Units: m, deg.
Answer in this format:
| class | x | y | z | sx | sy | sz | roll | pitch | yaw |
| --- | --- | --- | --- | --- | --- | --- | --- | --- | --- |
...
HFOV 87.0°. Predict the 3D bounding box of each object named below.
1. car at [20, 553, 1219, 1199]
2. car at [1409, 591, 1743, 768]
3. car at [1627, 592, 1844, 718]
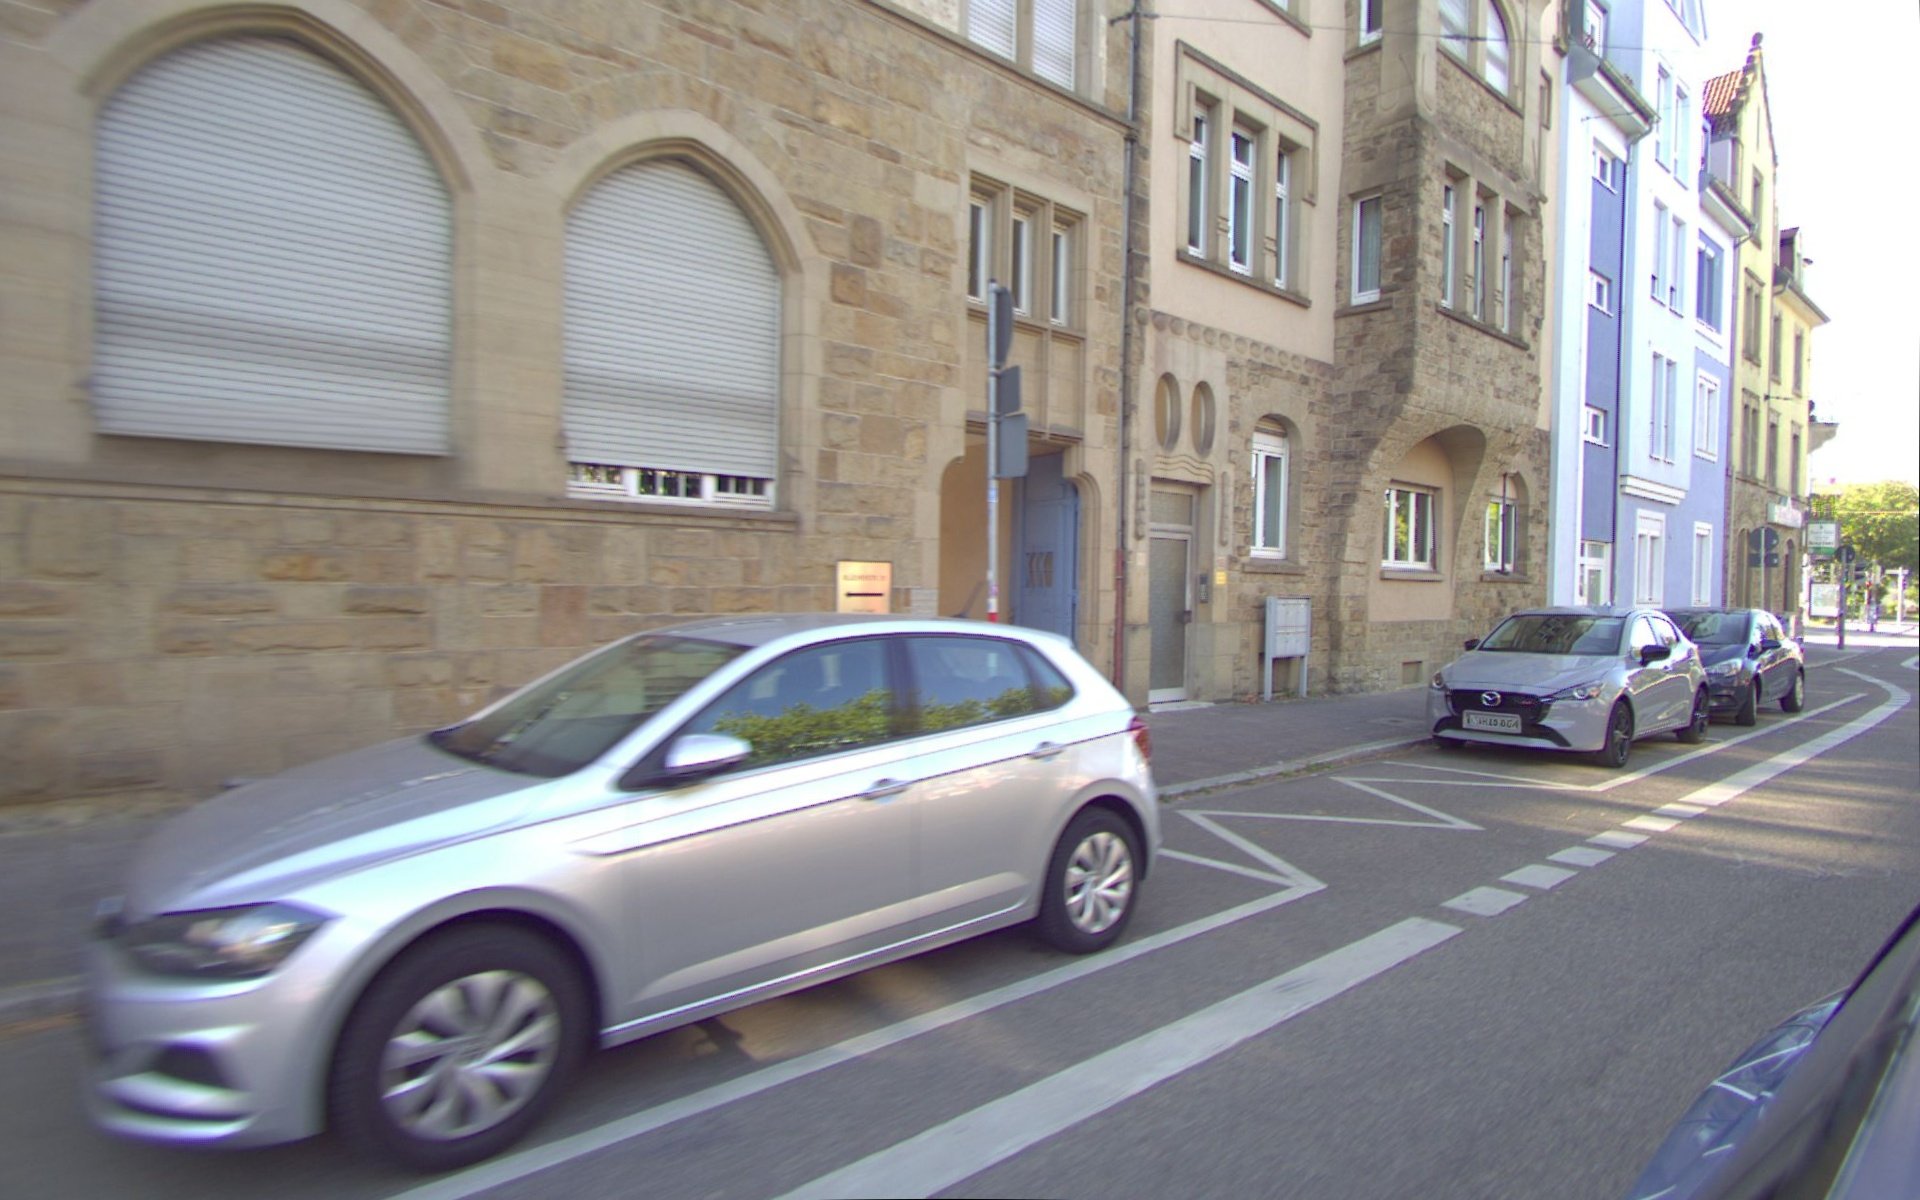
| class | x | y | z | sx | sy | sz | roll | pitch | yaw |
| --- | --- | --- | --- | --- | --- | --- | --- | --- | --- |
| car | -0.900 | 0.663 | 4.091 | 4.151 | 1.520 | 1.717 | 0 | 0 | -41 |
| car | 6.618 | 0.685 | 10.706 | 4.120 | 1.520 | 1.756 | 0 | 0 | -39 |
| car | 10.874 | 0.649 | 14.101 | 3.930 | 1.501 | 1.658 | 0 | 1 | -41 |
